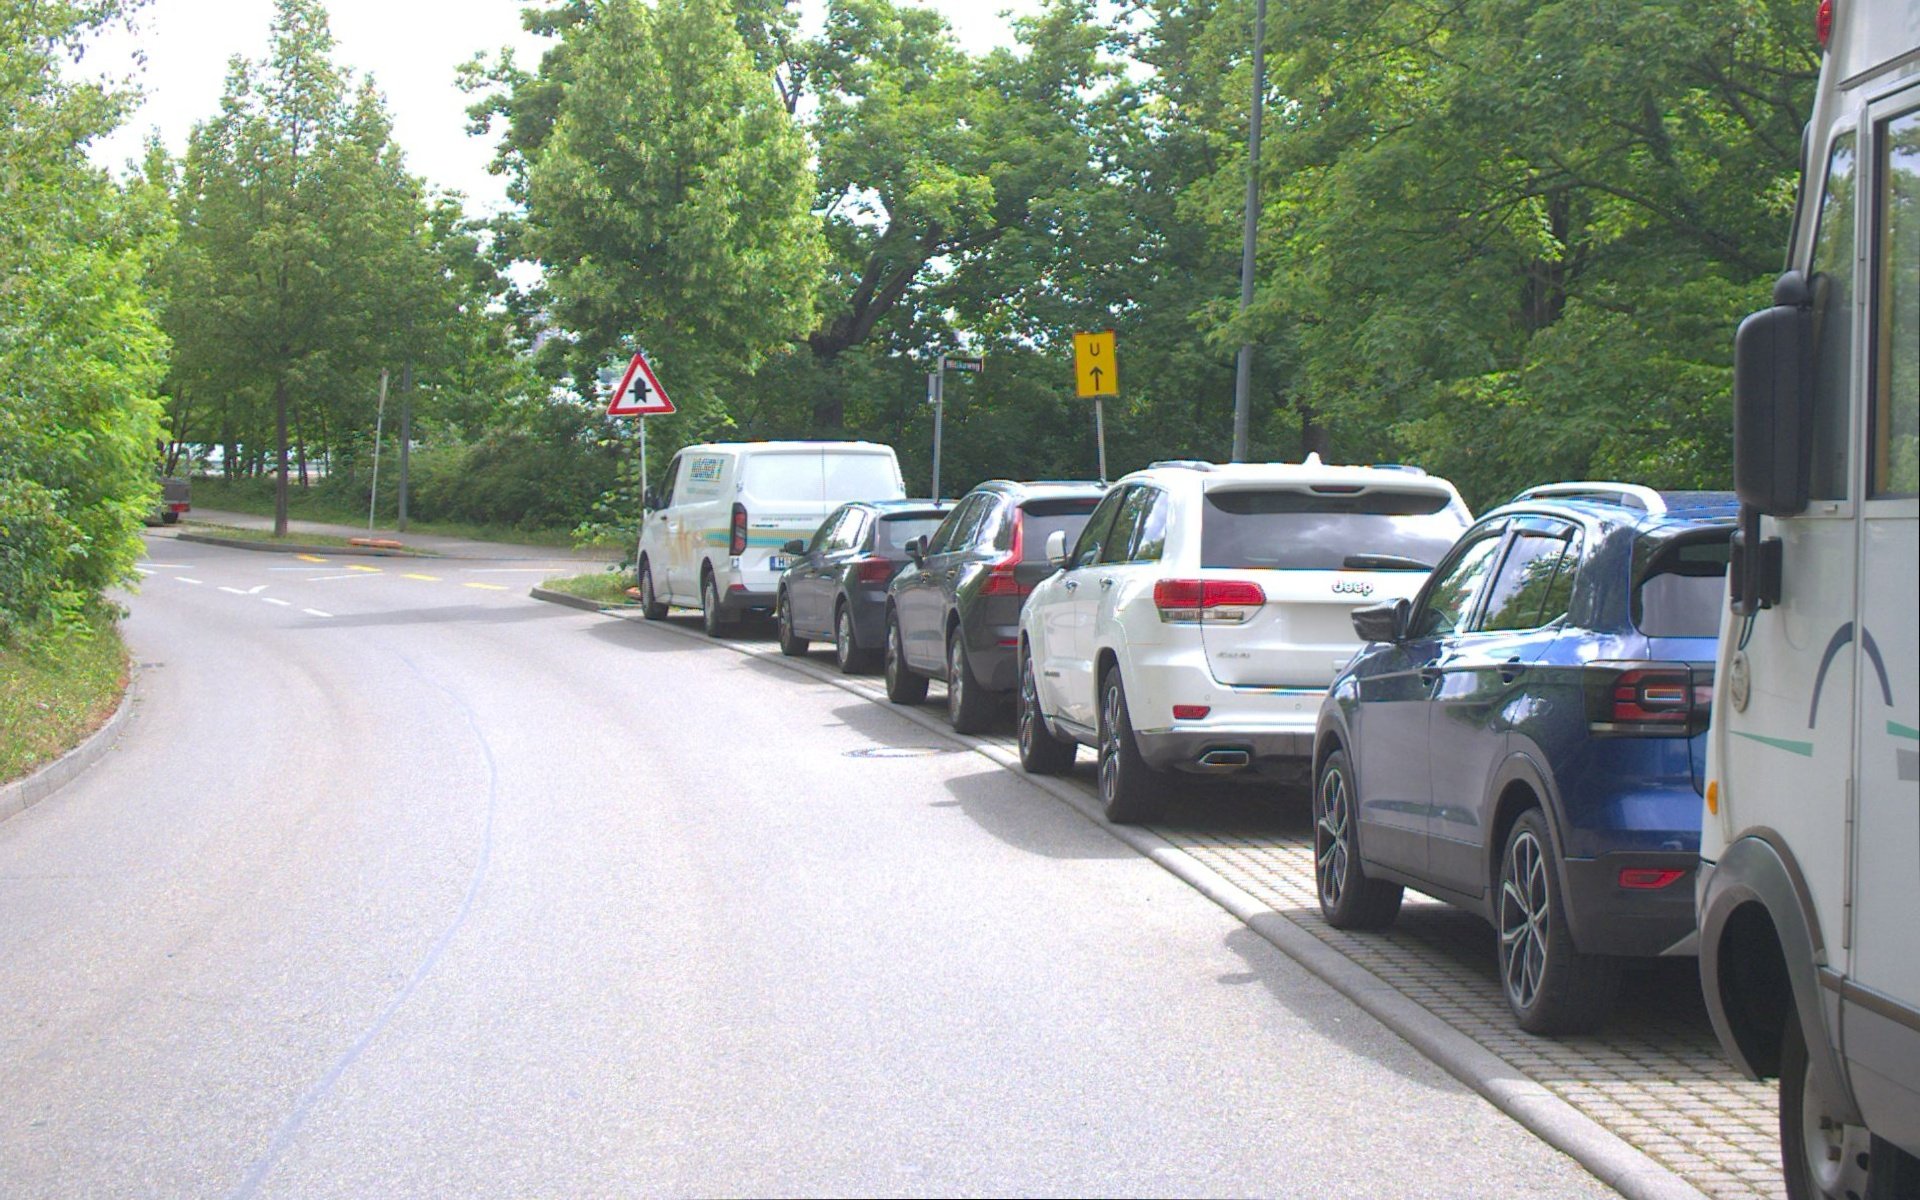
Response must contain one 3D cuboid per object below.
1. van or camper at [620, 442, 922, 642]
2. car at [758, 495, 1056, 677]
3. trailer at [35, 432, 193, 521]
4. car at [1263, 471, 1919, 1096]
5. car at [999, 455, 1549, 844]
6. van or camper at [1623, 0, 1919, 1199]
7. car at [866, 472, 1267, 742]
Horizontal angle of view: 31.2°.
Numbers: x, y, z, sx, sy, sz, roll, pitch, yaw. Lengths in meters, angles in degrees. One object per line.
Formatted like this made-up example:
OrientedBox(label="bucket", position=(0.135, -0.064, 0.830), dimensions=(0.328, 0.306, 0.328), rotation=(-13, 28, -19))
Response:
OrientedBox(label="van or camper", position=(-2.073, -0.681, 35.909), dimensions=(1.993, 1.913, 5.268), rotation=(0, 3, -16))
OrientedBox(label="car", position=(-0.542, -0.171, 30.134), dimensions=(1.797, 1.459, 4.002), rotation=(1, 2, -13))
OrientedBox(label="trailer", position=(-16.319, -2.404, 66.207), dimensions=(1.784, 1.520, 4.001), rotation=(-2, 5, -32))
OrientedBox(label="car", position=(2.238, 0.454, 10.960), dimensions=(1.710, 1.586, 4.001), rotation=(3, 1, -6))
OrientedBox(label="car", position=(1.437, 0.147, 17.663), dimensions=(1.871, 1.683, 4.580), rotation=(2, 2, -6))
OrientedBox(label="van or camper", position=(2.688, -0.049, 4.187), dimensions=(2.332, 2.859, 6.151), rotation=(1, 1, -2))
OrientedBox(label="car", position=(0.622, -0.039, 23.750), dimensions=(1.993, 1.620, 4.279), rotation=(-1, 3, -9))
